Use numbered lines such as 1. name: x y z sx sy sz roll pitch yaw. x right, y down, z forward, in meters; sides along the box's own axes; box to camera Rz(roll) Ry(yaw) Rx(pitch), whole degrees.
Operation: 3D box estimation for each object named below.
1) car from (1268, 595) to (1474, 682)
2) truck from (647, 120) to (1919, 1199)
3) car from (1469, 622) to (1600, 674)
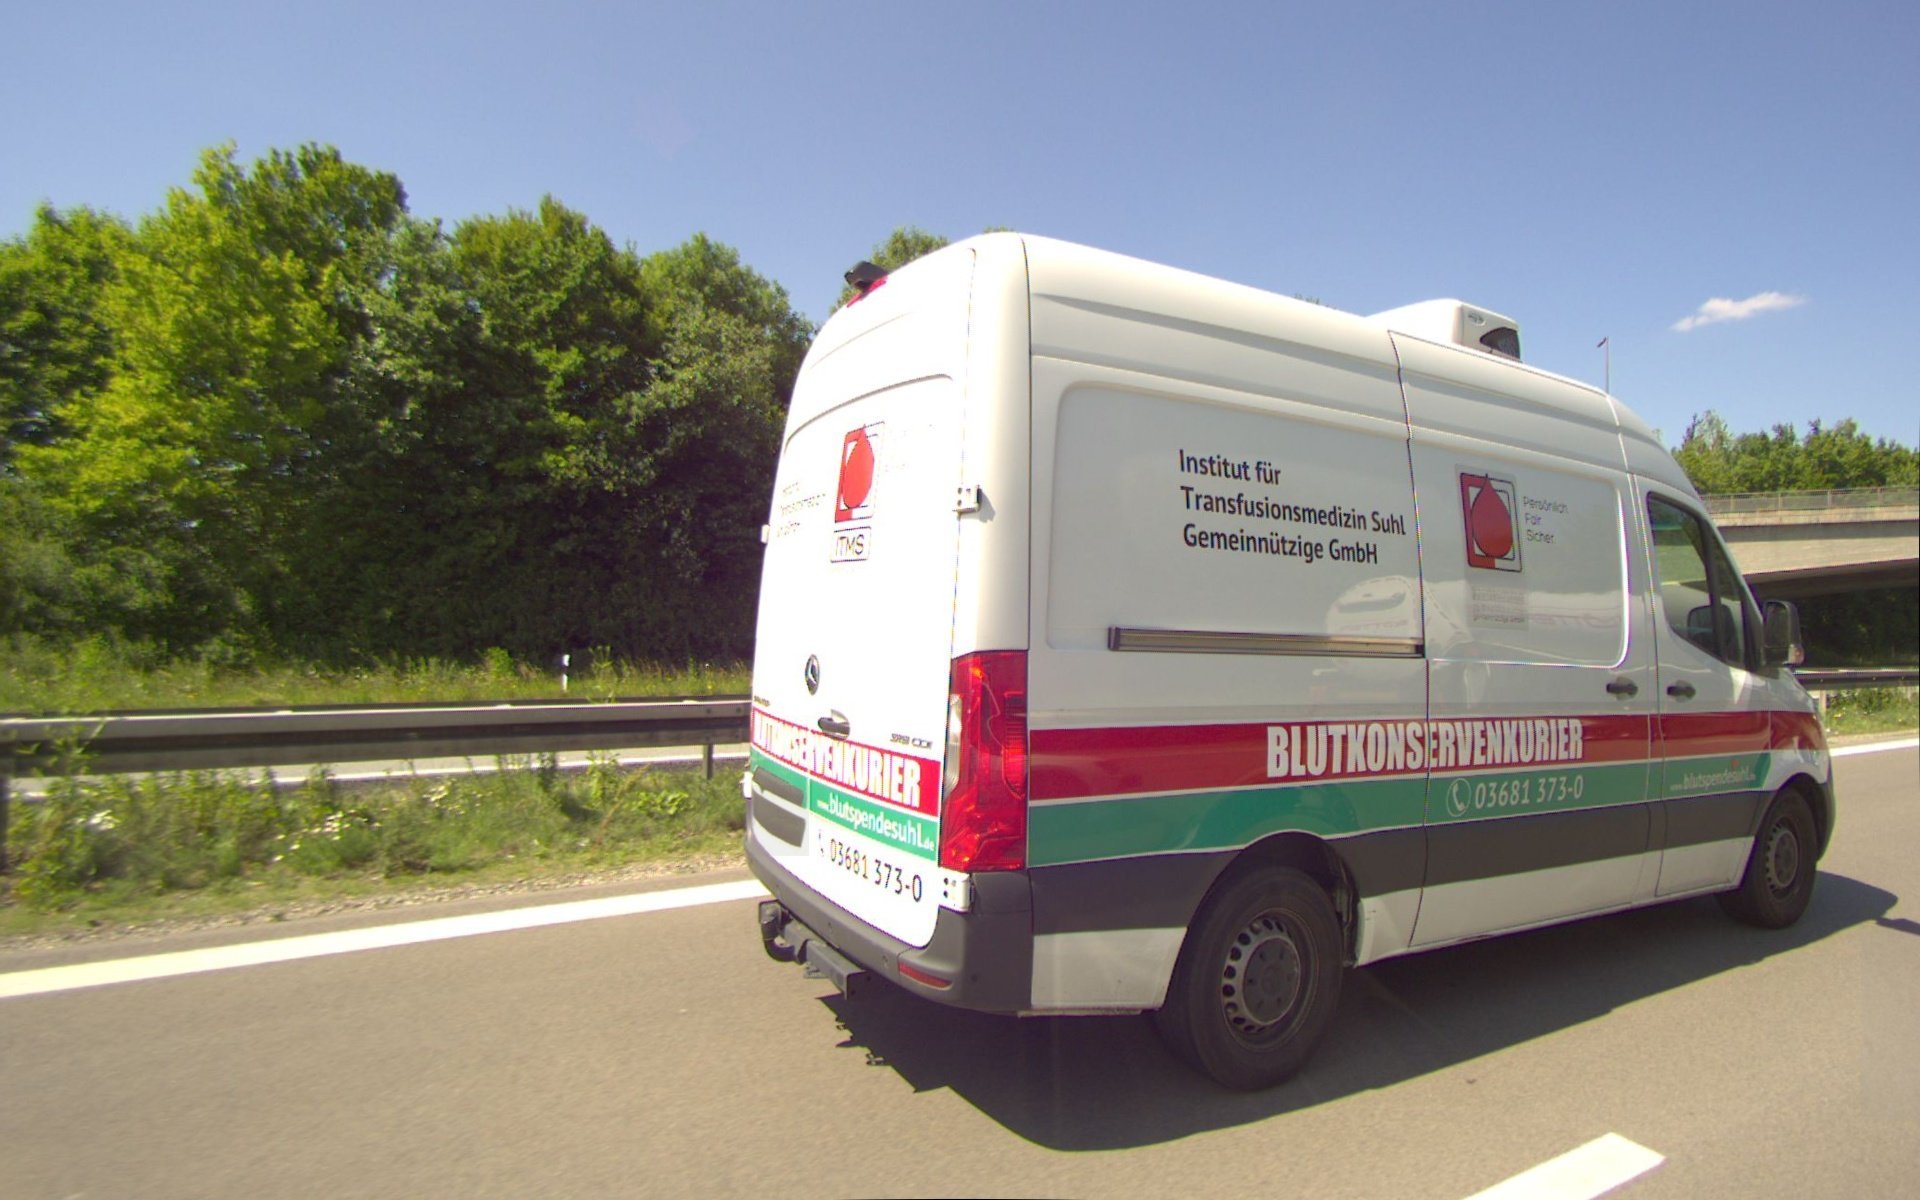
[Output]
1. car: 9.492 0.924 23.097 4.641 1.828 1.984 3 -2 -30
2. truck: 2.116 0.267 4.801 6.612 2.576 1.984 1 0 -30
3. car: 18.637 1.560 32.553 4.078 1.575 1.790 1 -4 -29
